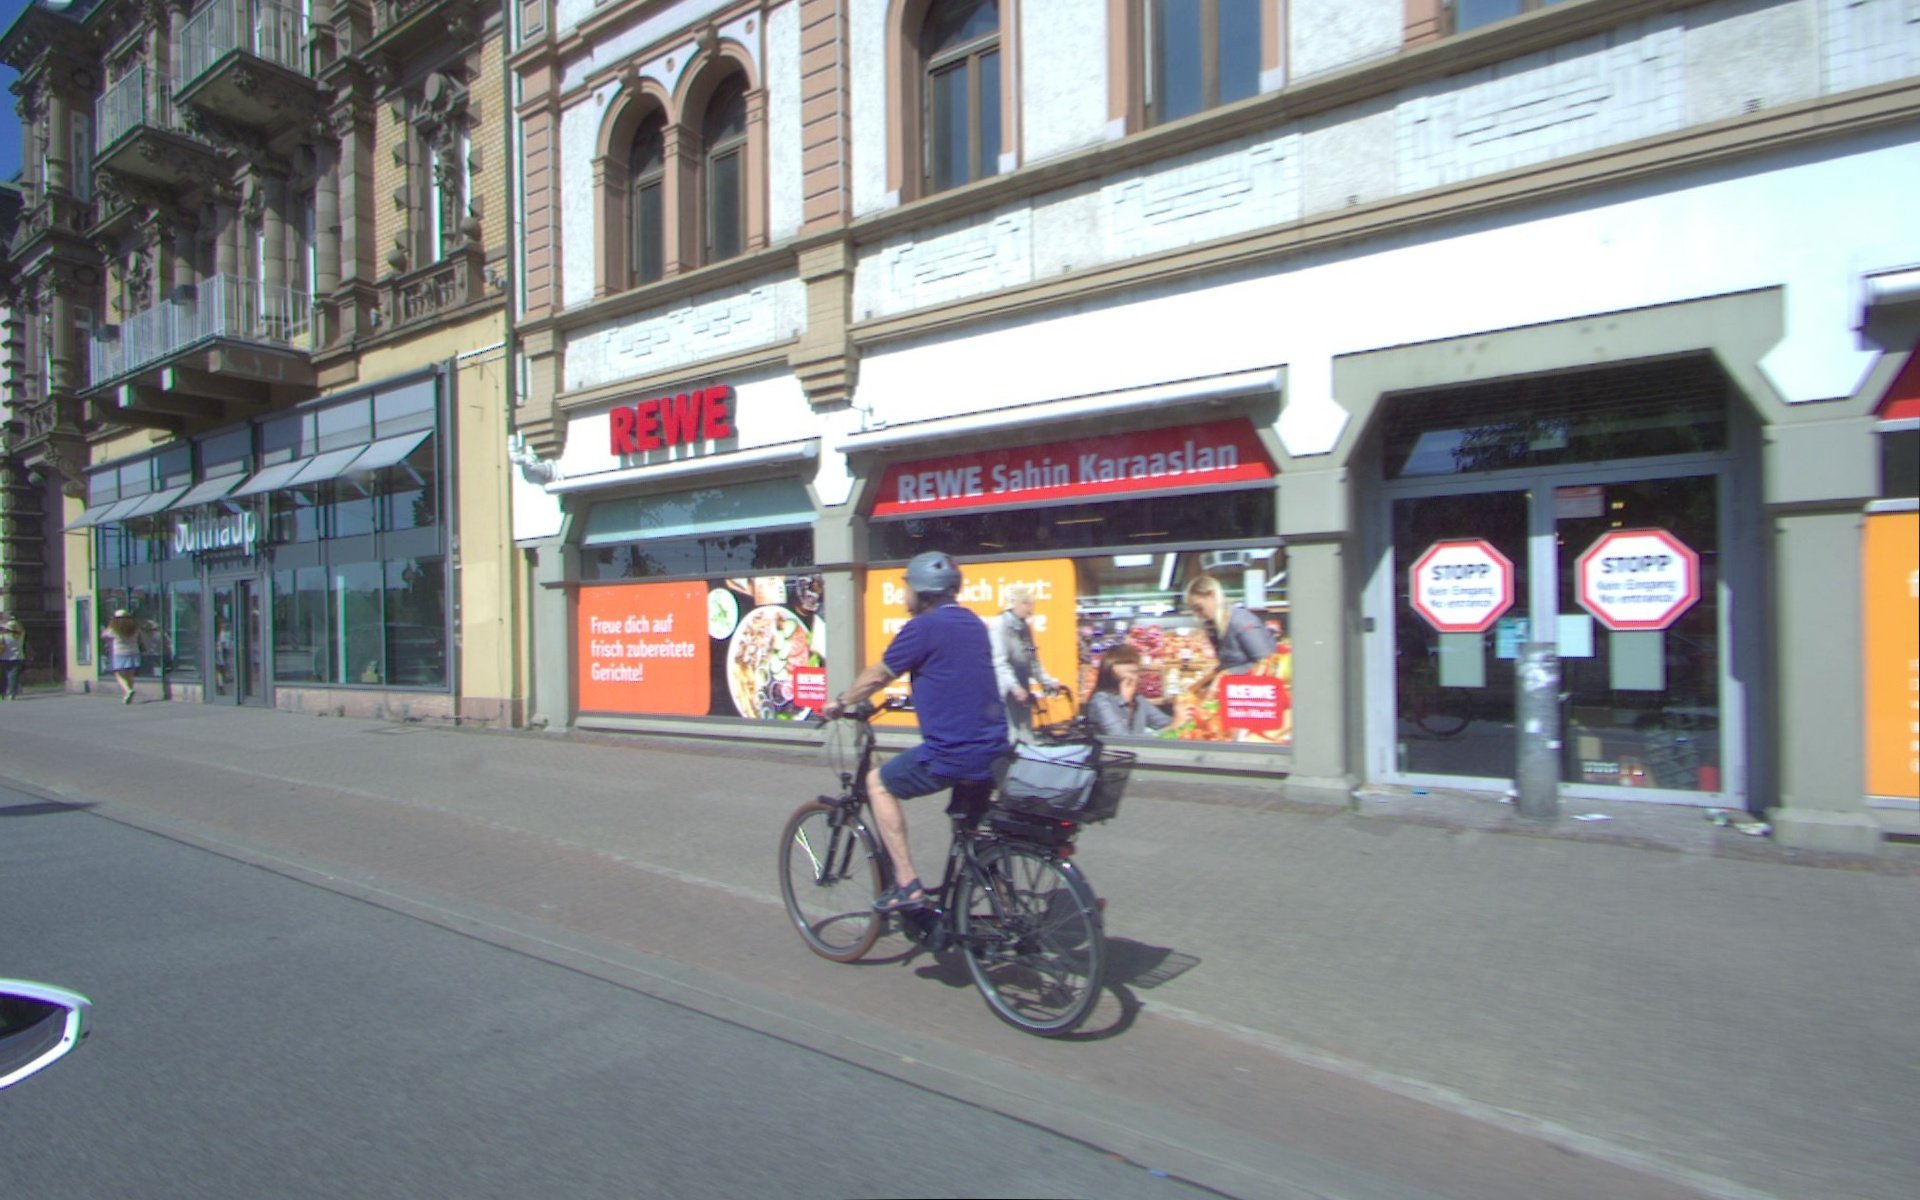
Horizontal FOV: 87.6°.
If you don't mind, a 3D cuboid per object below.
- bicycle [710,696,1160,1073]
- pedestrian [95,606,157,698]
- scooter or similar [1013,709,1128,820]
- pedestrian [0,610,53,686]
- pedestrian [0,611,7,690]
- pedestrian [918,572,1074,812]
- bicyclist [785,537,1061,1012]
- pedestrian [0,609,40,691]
[{"bbox_3d":[-0.194,0.974,4.068,0.730,1.106,1.892,3,-4,-45],"label":"bicycle"},{"bbox_3d":[-15.352,0.942,18.429,0.804,1.642,0.653,0,0,32],"label":"pedestrian"},{"bbox_3d":[0.807,1.162,7.227,0.558,0.659,0.689,-2,2,33],"label":"scooter or similar"},{"bbox_3d":[-21.097,1.086,22.472,0.863,1.660,0.861,-2,-3,32],"label":"pedestrian"},{"bbox_3d":[-20.825,1.065,21.083,0.863,1.660,0.861,-2,-3,32],"label":"pedestrian"},{"bbox_3d":[0.280,0.657,7.550,0.826,1.678,0.753,-2,2,33],"label":"pedestrian"},{"bbox_3d":[-0.158,0.632,4.037,0.684,1.636,0.910,3,-4,-44],"label":"bicyclist"},{"bbox_3d":[-19.601,1.019,20.554,0.863,1.661,0.860,0,0,32],"label":"pedestrian"}]
